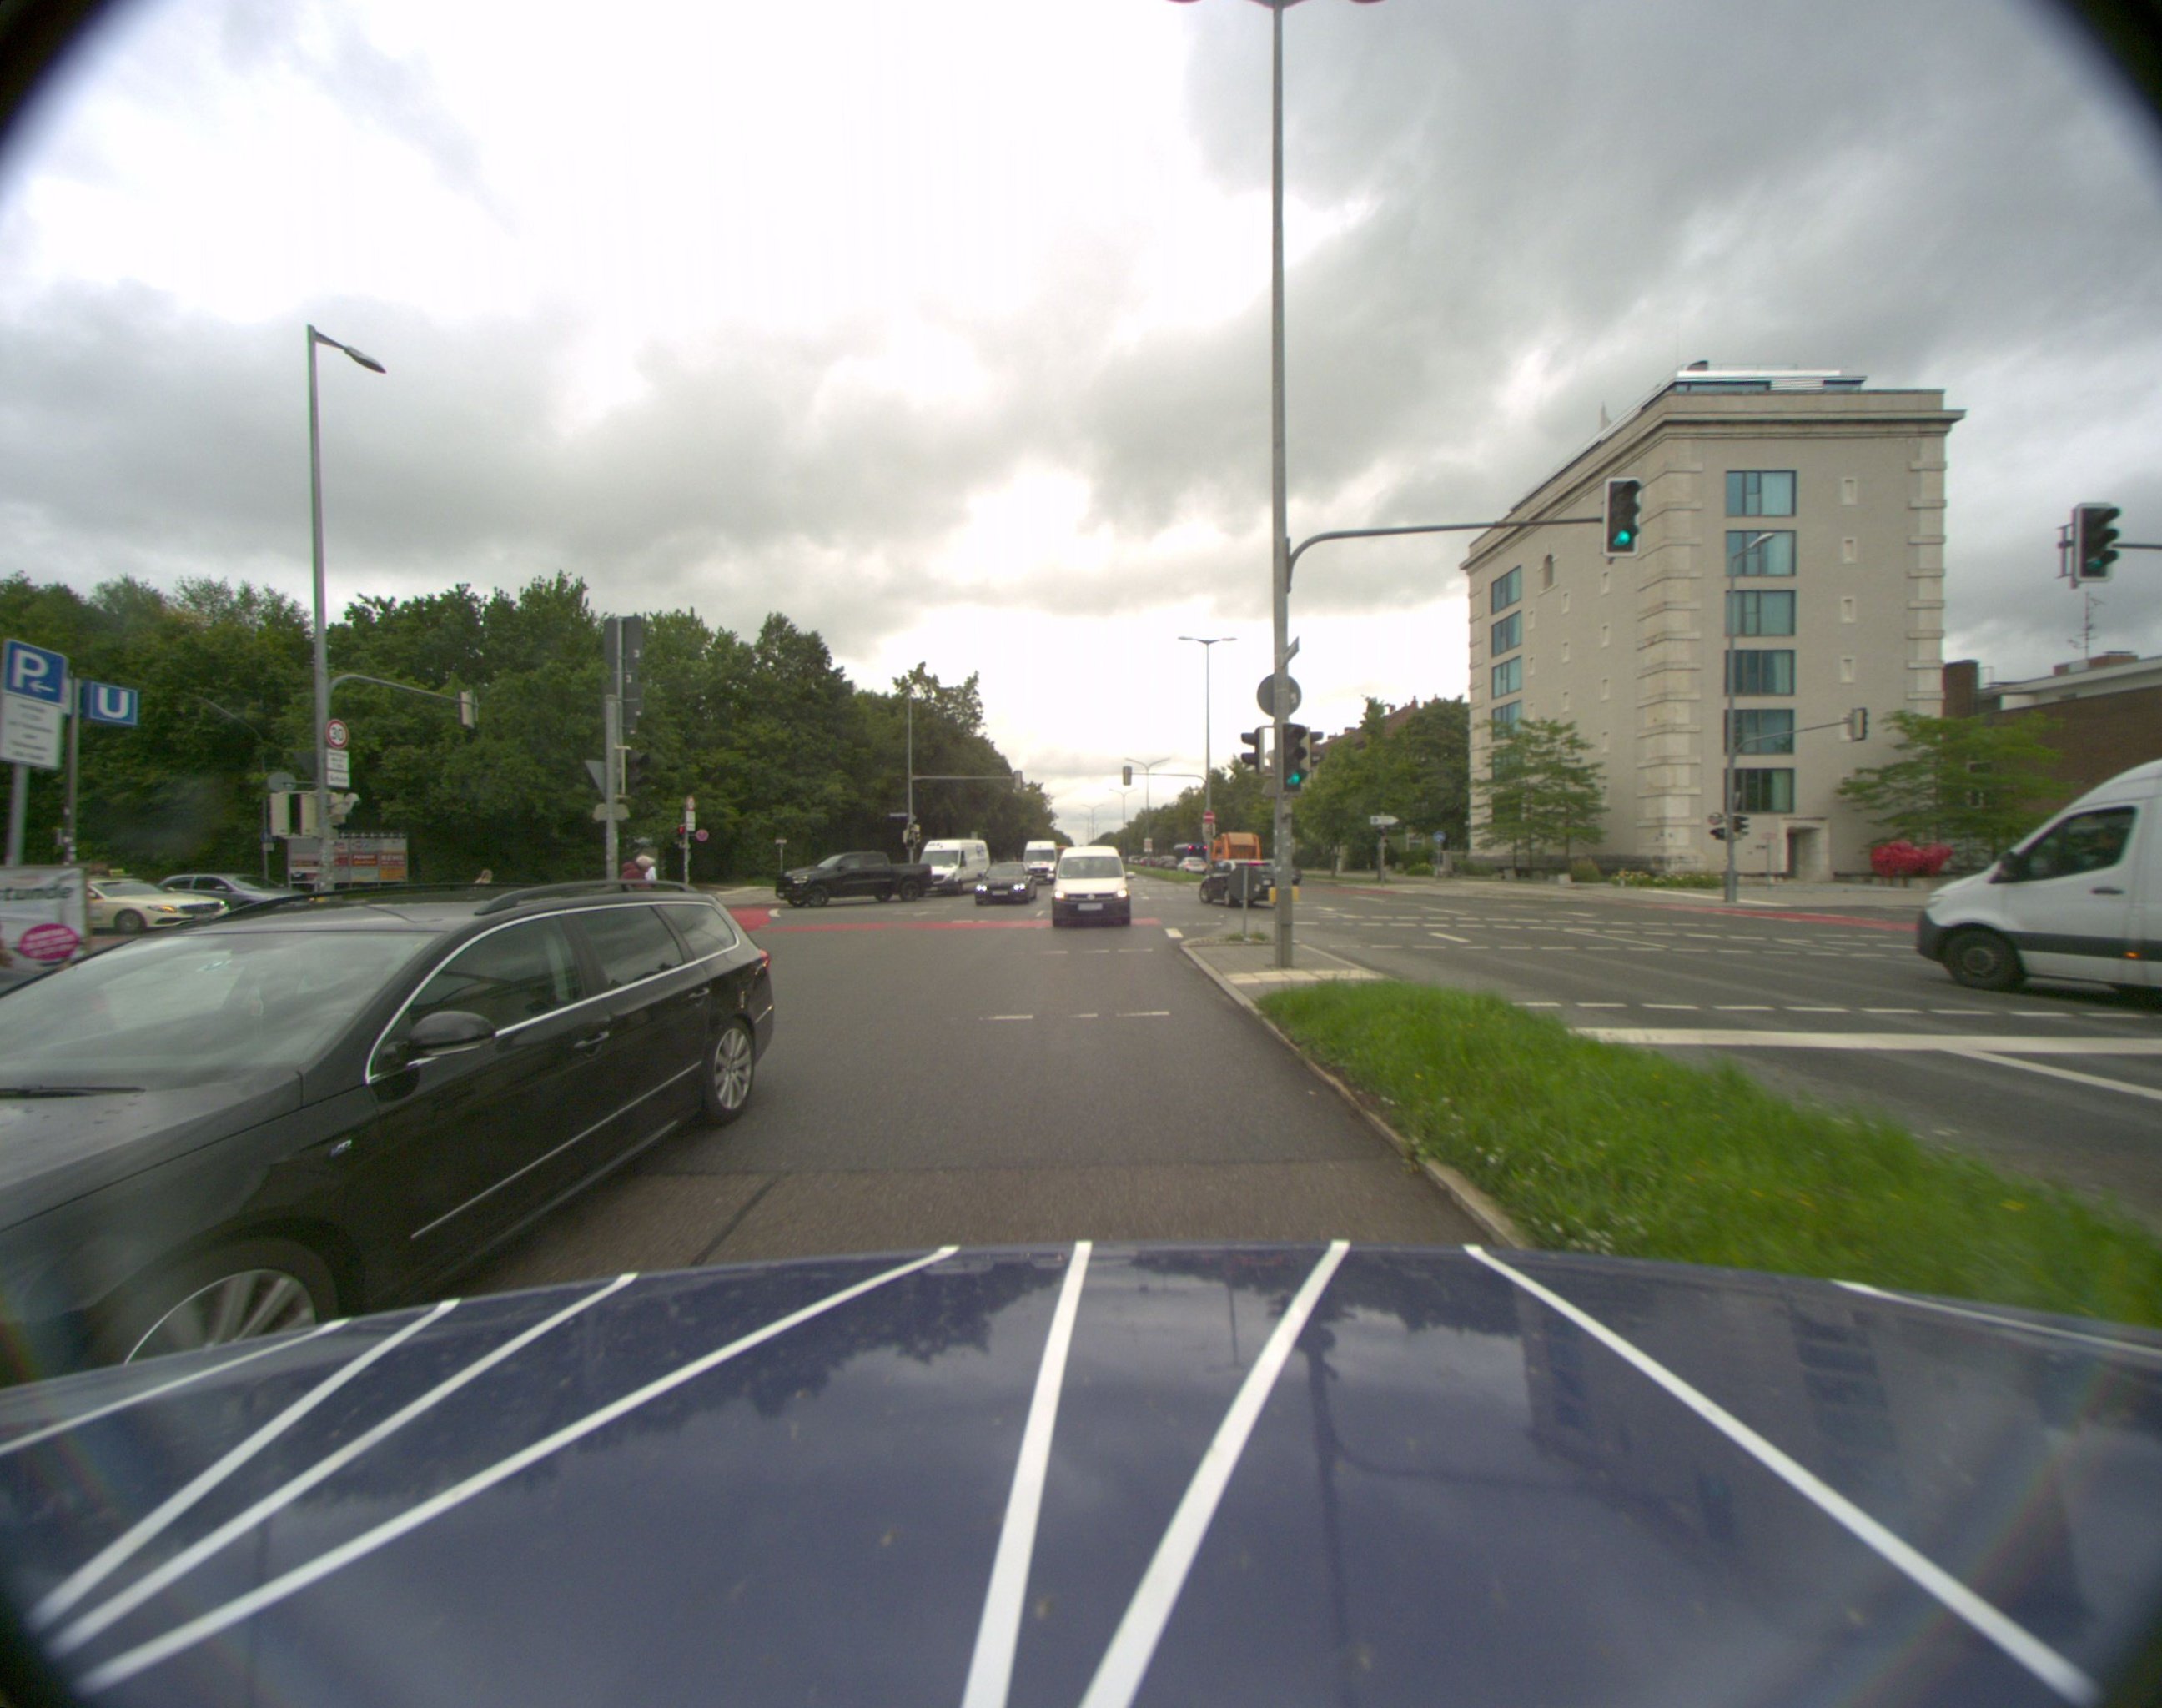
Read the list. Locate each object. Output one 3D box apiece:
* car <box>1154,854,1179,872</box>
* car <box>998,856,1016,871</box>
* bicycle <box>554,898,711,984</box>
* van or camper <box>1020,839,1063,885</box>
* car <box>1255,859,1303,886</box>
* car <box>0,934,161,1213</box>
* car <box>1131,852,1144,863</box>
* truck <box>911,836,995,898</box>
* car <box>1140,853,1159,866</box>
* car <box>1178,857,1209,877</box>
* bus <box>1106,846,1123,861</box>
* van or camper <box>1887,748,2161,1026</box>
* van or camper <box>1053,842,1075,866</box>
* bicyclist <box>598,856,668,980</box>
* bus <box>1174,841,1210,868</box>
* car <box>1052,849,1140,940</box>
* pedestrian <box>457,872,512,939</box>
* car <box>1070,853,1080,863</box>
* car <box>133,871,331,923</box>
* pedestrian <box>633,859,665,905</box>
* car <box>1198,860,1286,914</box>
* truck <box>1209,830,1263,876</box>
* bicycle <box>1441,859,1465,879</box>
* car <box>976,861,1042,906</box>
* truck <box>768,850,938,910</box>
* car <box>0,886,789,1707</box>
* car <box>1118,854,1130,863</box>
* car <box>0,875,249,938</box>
[{"bbox_3d":[8.145,0.853,73.086,1.867,1.533,4.749,3,0,1],"label":"car"},{"bbox_3d":[-8.660,1.118,88.858,1.752,1.640,4.255,-1,0,-1],"label":"car"},{"bbox_3d":[-6.671,1.253,11.347,1.951,1.075,0.746,-1,1,-35],"label":"bicycle"},{"bbox_3d":[-2.313,0.441,46.433,2.183,2.546,7.074,0,0,1],"label":"van or camper"},{"bbox_3d":[11.225,1.033,43.392,1.727,1.408,4.216,1,0,1],"label":"car"},{"bbox_3d":[-6.362,1.183,2.230,1.714,1.352,4.620,-2,0,-1],"label":"car"},{"bbox_3d":[10.608,0.648,142.696,1.784,1.801,4.430,2,0,-2],"label":"car"},{"bbox_3d":[-5.888,0.546,36.107,1.997,2.588,7.230,-1,0,6],"label":"truck"},{"bbox_3d":[8.676,0.688,97.131,1.931,1.453,4.898,1,0,0],"label":"car"},{"bbox_3d":[8.777,1.017,59.624,1.732,1.478,4.742,0,0,0],"label":"car"},{"bbox_3d":[7.421,-0.159,171.903,2.753,3.324,12.270,1,0,-2],"label":"bus"},{"bbox_3d":[11.311,0.333,6.172,2.183,2.631,6.951,1,0,1],"label":"van or camper"},{"bbox_3d":[-2.373,-0.012,105.960,2.780,3.219,7.074,0,0,1],"label":"van or camper"},{"bbox_3d":[-6.684,0.906,11.338,0.829,1.754,0.744,-1,1,-35],"label":"bicyclist"},{"bbox_3d":[14.452,0.052,99.784,2.752,3.324,12.047,1,0,-1],"label":"bus"},{"bbox_3d":[0.278,0.807,17.583,1.752,1.808,4.671,-1,0,-1],"label":"car"},{"bbox_3d":[-14.109,1.206,17.987,0.691,1.529,0.738,0,1,20],"label":"pedestrian"},{"bbox_3d":[-1.202,0.822,155.277,1.998,2.002,4.000,0,0,1],"label":"car"},{"bbox_3d":[-26.072,1.294,23.446,3.949,1.445,1.626,-1,0,-7],"label":"car"},{"bbox_3d":[-16.525,1.065,29.108,0.762,1.693,0.938,-1,1,-9],"label":"pedestrian"},{"bbox_3d":[4.832,0.939,23.263,1.644,1.478,3.779,0,0,-4],"label":"car"},{"bbox_3d":[12.005,-0.094,59.421,2.787,3.336,7.266,0,0,0],"label":"truck"},{"bbox_3d":[23.158,0.924,47.343,0.546,1.174,1.826,-1,0,0],"label":"bicycle"},{"bbox_3d":[-2.497,0.984,27.417,1.819,1.421,4.671,0,0,1],"label":"car"},{"bbox_3d":[-8.375,0.862,28.479,2.099,2.002,5.824,0,0,43],"label":"truck"},{"bbox_3d":[-2.930,0.978,3.029,1.752,1.466,4.671,-1,0,-1],"label":"car"},{"bbox_3d":[7.717,0.739,136.760,1.702,1.560,4.290,0,0,-1],"label":"car"},{"bbox_3d":[-25.434,1.348,20.230,4.312,1.488,1.887,-1,0,-2],"label":"car"}]
